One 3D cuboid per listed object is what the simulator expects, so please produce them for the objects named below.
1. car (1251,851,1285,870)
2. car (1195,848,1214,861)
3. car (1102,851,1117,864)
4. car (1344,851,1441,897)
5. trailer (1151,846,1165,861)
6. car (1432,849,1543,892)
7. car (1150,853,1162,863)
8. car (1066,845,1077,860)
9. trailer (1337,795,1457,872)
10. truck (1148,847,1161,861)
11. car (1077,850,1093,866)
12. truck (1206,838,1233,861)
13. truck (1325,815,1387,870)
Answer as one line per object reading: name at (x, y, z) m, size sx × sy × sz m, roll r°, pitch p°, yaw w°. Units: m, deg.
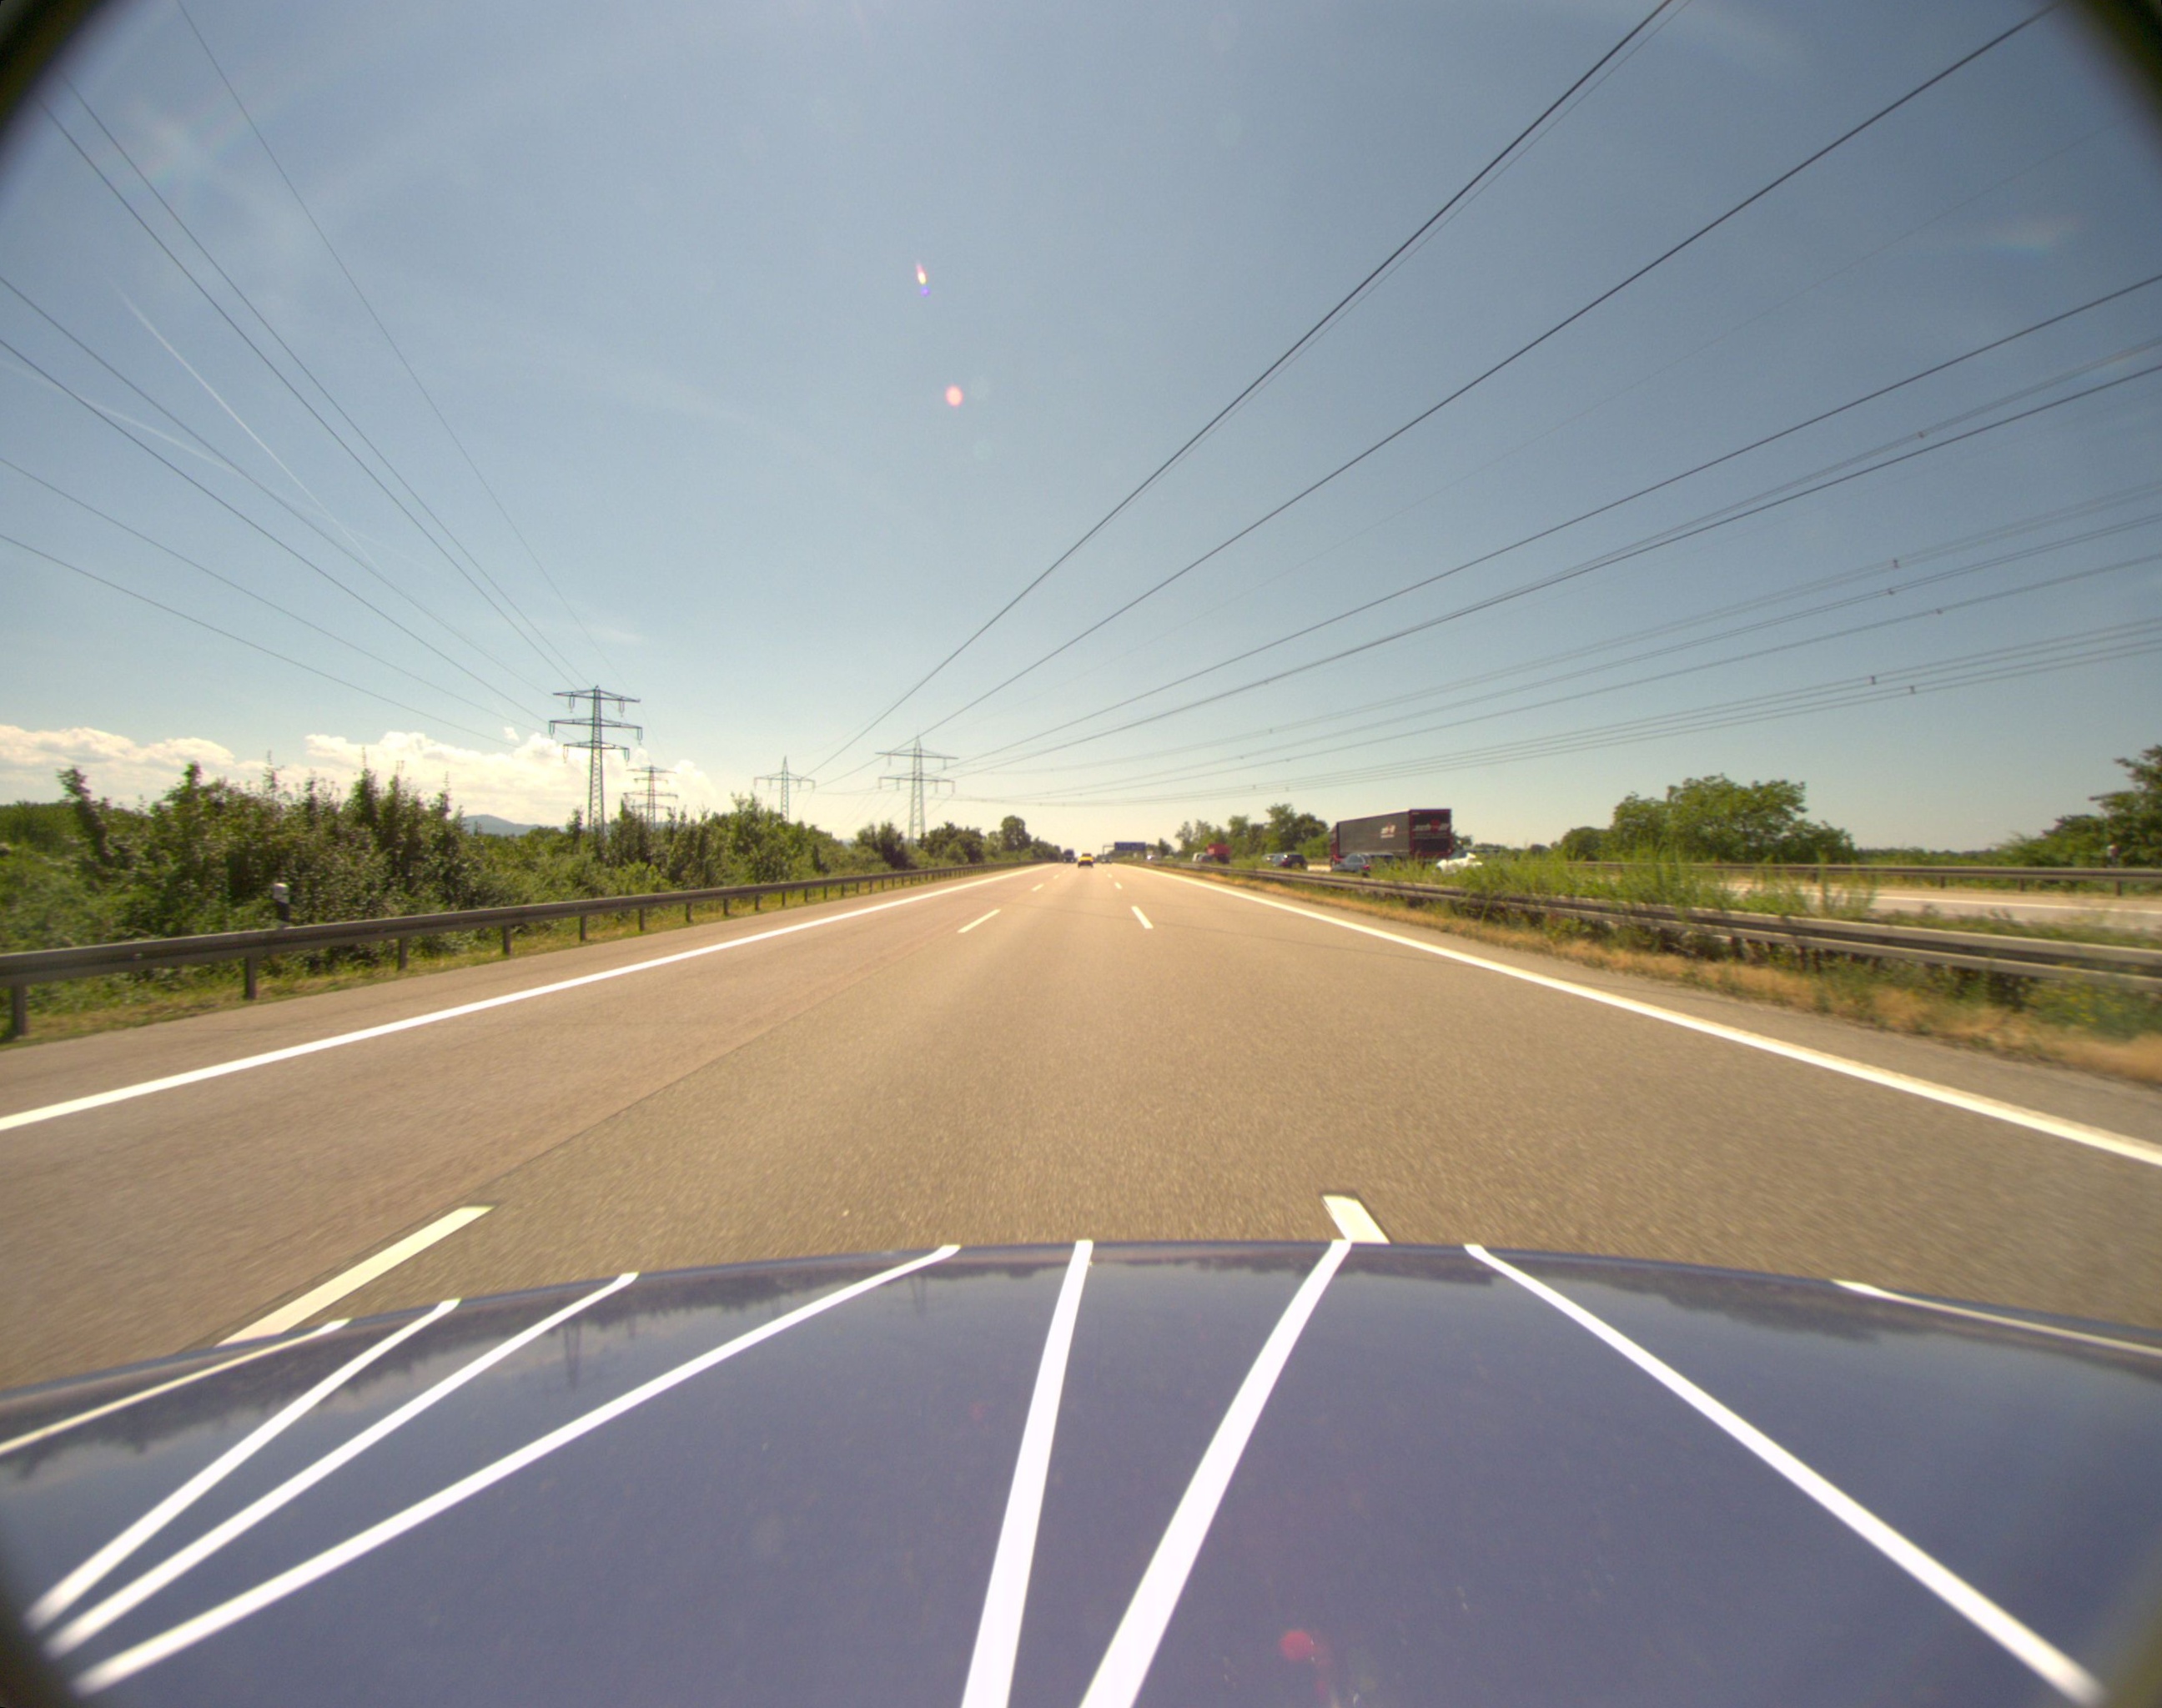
car at (16.944, 0.562, 69.236) m, size 1.949 × 1.608 × 5.018 m, roll -2°, pitch -1°, yaw 1°
car at (17.266, 0.136, 106.683) m, size 1.976 × 1.763 × 4.369 m, roll -2°, pitch 0°, yaw 1°
car at (5.502, 0.655, 146.527) m, size 2.686 × 2.509 × 5.968 m, roll 0°, pitch -1°, yaw 0°
car at (12.231, 0.753, 30.231) m, size 1.833 × 1.609 × 5.017 m, roll -2°, pitch -1°, yaw 1°
trailer at (22.229, -0.089, 219.883) m, size 2.848 × 4.139 × 8.327 m, roll -2°, pitch 0°, yaw 0°
car at (16.776, 0.657, 31.682) m, size 1.998 × 1.608 × 5.018 m, roll -2°, pitch -1°, yaw 1°
car at (14.334, 0.768, 145.298) m, size 1.998 × 1.842 × 4.535 m, roll -2°, pitch 0°, yaw 1°
car at (-2.396, -0.357, 195.449) m, size 2.686 × 3.723 × 6.271 m, roll 0°, pitch -1°, yaw 0°
trailer at (21.212, -1.171, 52.346) m, size 2.655 × 4.525 × 13.866 m, roll -2°, pitch -1°, yaw 1°
truck at (22.037, 0.095, 229.325) m, size 2.699 × 3.926 × 10.593 m, roll -2°, pitch 0°, yaw 0°
car at (0.499, 0.505, 95.763) m, size 1.955 × 2.001 × 5.433 m, roll 0°, pitch -1°, yaw 0°
truck at (21.850, -0.661, 120.063) m, size 2.777 × 3.506 × 8.534 m, roll -2°, pitch 0°, yaw 1°
truck at (21.377, -0.824, 59.456) m, size 2.655 × 3.959 × 5.992 m, roll -2°, pitch 0°, yaw 1°
